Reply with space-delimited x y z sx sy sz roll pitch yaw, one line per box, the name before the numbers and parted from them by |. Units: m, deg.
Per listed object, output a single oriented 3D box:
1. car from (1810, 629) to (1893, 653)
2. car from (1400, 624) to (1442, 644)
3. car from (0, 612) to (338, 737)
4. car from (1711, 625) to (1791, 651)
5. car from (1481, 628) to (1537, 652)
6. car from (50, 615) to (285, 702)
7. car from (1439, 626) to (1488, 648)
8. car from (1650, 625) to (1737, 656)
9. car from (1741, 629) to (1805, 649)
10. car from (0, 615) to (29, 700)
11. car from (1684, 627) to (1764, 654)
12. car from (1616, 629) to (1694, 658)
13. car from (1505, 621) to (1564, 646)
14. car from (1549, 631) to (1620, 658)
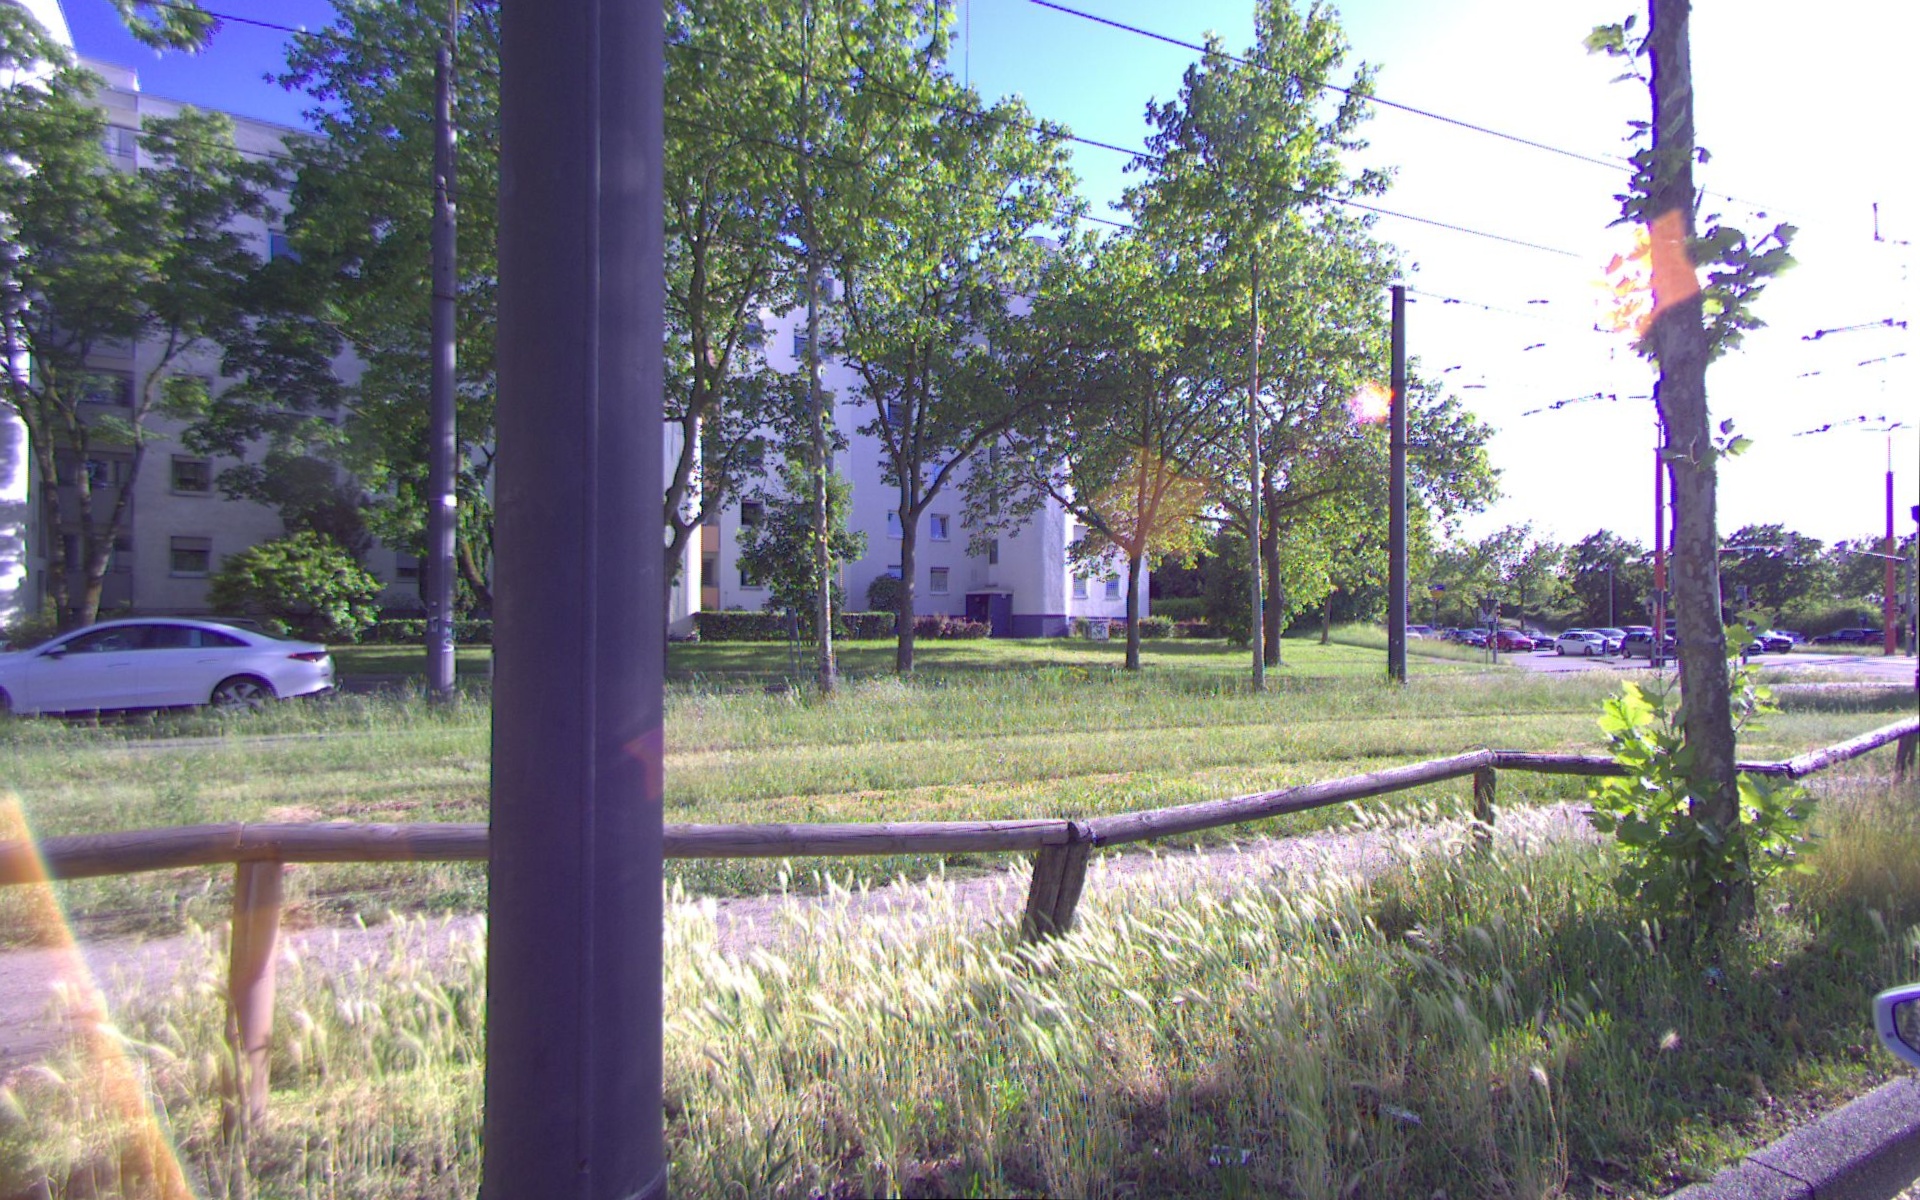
car | 59.761 2.739 67.430 1.625 1.421 4.128 1 -1 -6
car | 38.655 2.811 84.389 1.624 1.540 4.200 1 -1 1
car | -11.307 0.964 13.794 4.587 1.530 1.644 1 -1 -30
car | 48.664 2.318 61.892 1.513 1.434 4.154 1 -1 -3
car | 38.459 2.772 70.447 1.624 1.540 4.200 1 -1 1
car | -14.527 1.008 18.428 3.830 1.421 1.581 1 0 20
car | 38.672 2.811 77.250 1.624 1.540 4.200 1 -1 1
car | 42.338 2.304 58.101 1.624 1.669 4.644 1 -1 1
car | 62.865 3.010 77.746 1.626 1.421 3.799 1 -1 -8
car | -17.976 0.945 17.155 3.567 1.421 1.581 1 0 20
car | 45.585 2.389 60.058 1.513 1.434 4.154 1 -1 -3
car | 38.975 2.404 56.445 1.624 1.460 3.841 1 -1 -2
car | 42.281 2.427 74.066 1.721 1.669 4.644 1 -1 1
car | 38.929 2.751 62.732 1.624 1.540 4.638 1 -1 1
